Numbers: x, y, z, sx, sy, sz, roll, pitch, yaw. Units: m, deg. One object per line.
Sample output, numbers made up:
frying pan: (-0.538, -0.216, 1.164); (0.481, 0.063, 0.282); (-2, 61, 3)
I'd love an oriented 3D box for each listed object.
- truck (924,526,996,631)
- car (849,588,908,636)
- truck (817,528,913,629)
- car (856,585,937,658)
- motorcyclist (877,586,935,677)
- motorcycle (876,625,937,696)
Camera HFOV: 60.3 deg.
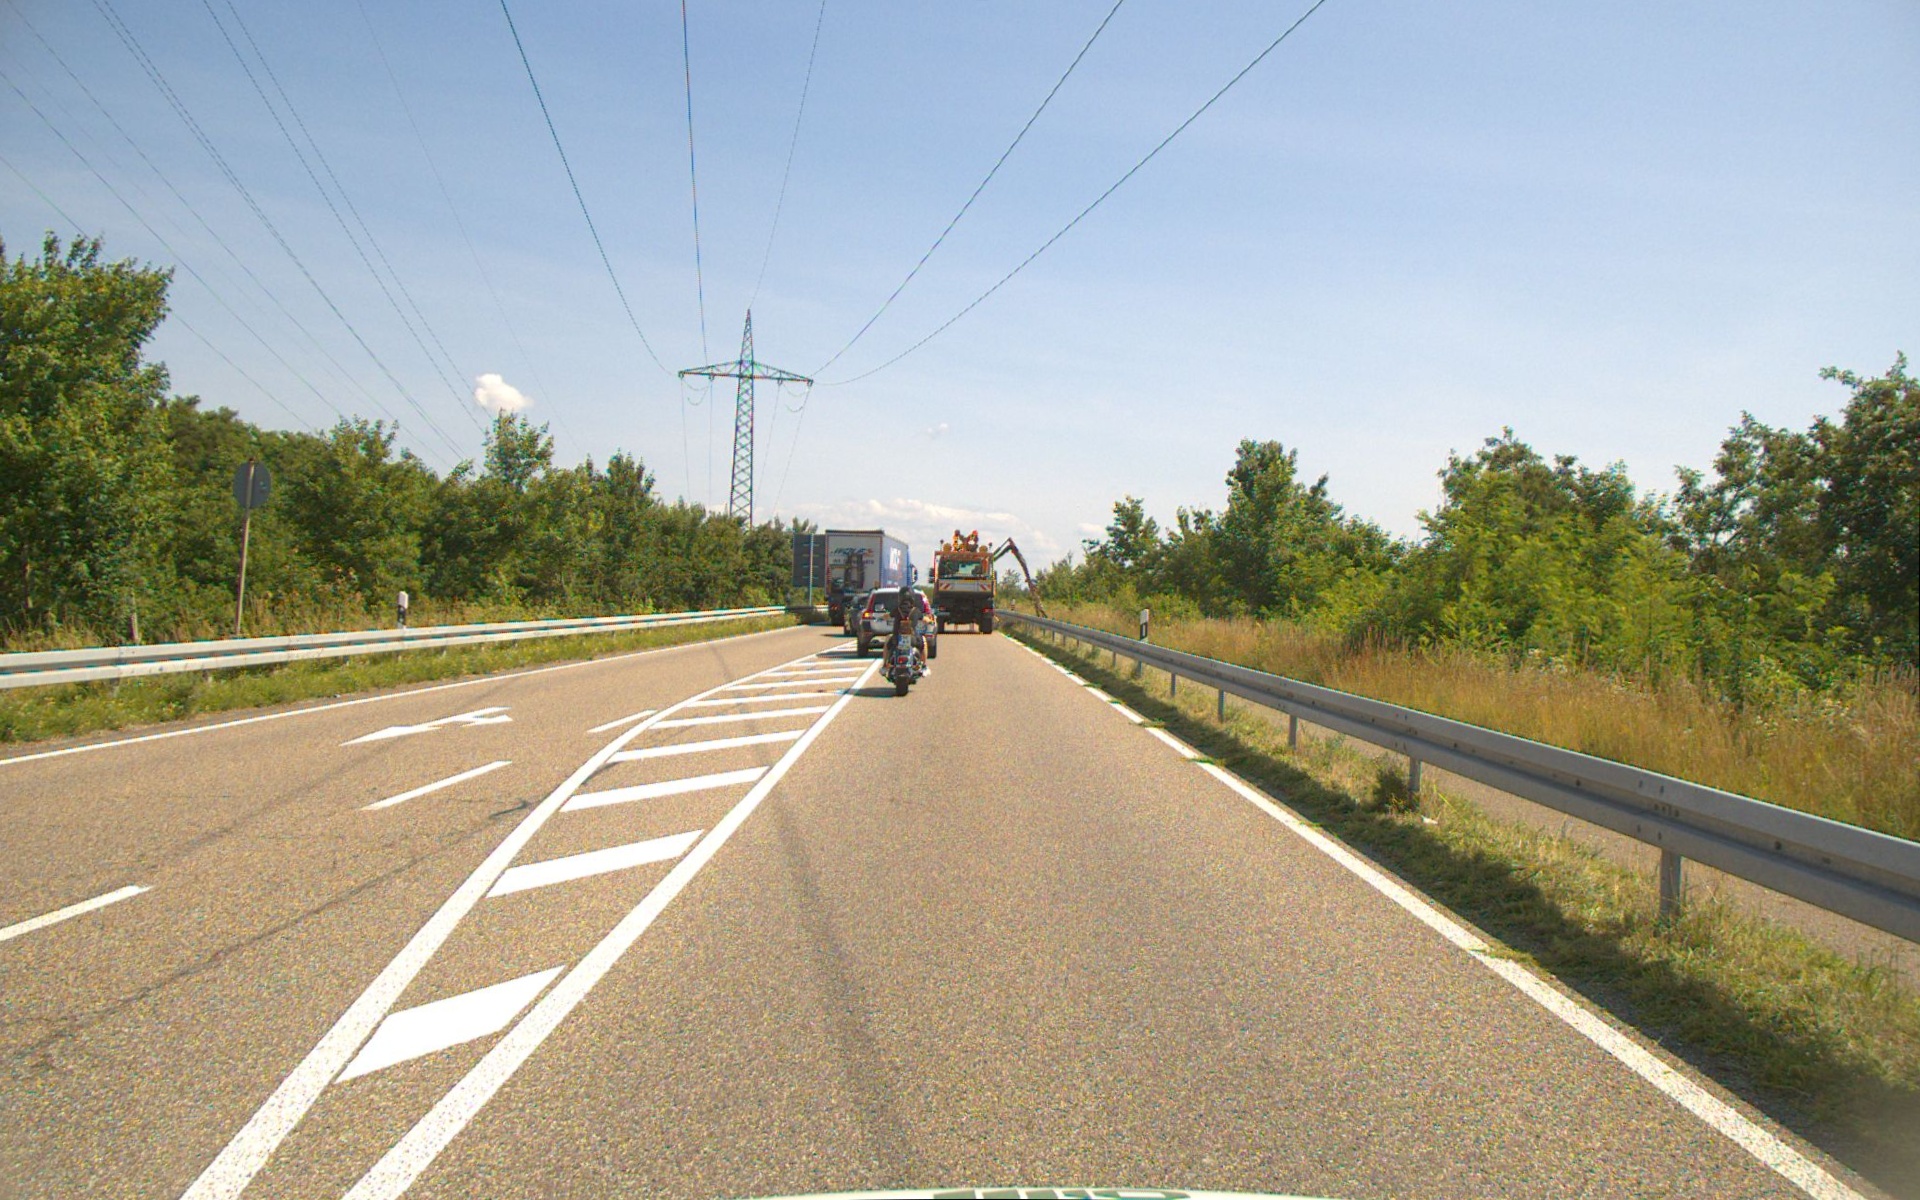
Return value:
truck: (0.005, -0.799, 63.734); (2.560, 3.776, 6.777); (1, 0, 0)
car: (-2.700, 0.376, 55.533); (1.817, 1.516, 3.739); (1, 1, -1)
truck: (-4.302, -0.951, 78.261); (2.906, 4.260, 14.827); (1, 0, 3)
car: (-1.498, 0.465, 38.162); (1.668, 1.563, 3.495); (1, 0, -5)
motorcyclist: (-0.797, 0.458, 24.534); (0.820, 1.303, 0.919); (1, 0, -2)
motorcycle: (-0.787, 0.869, 24.353); (0.841, 0.931, 2.227); (1, 0, -2)
